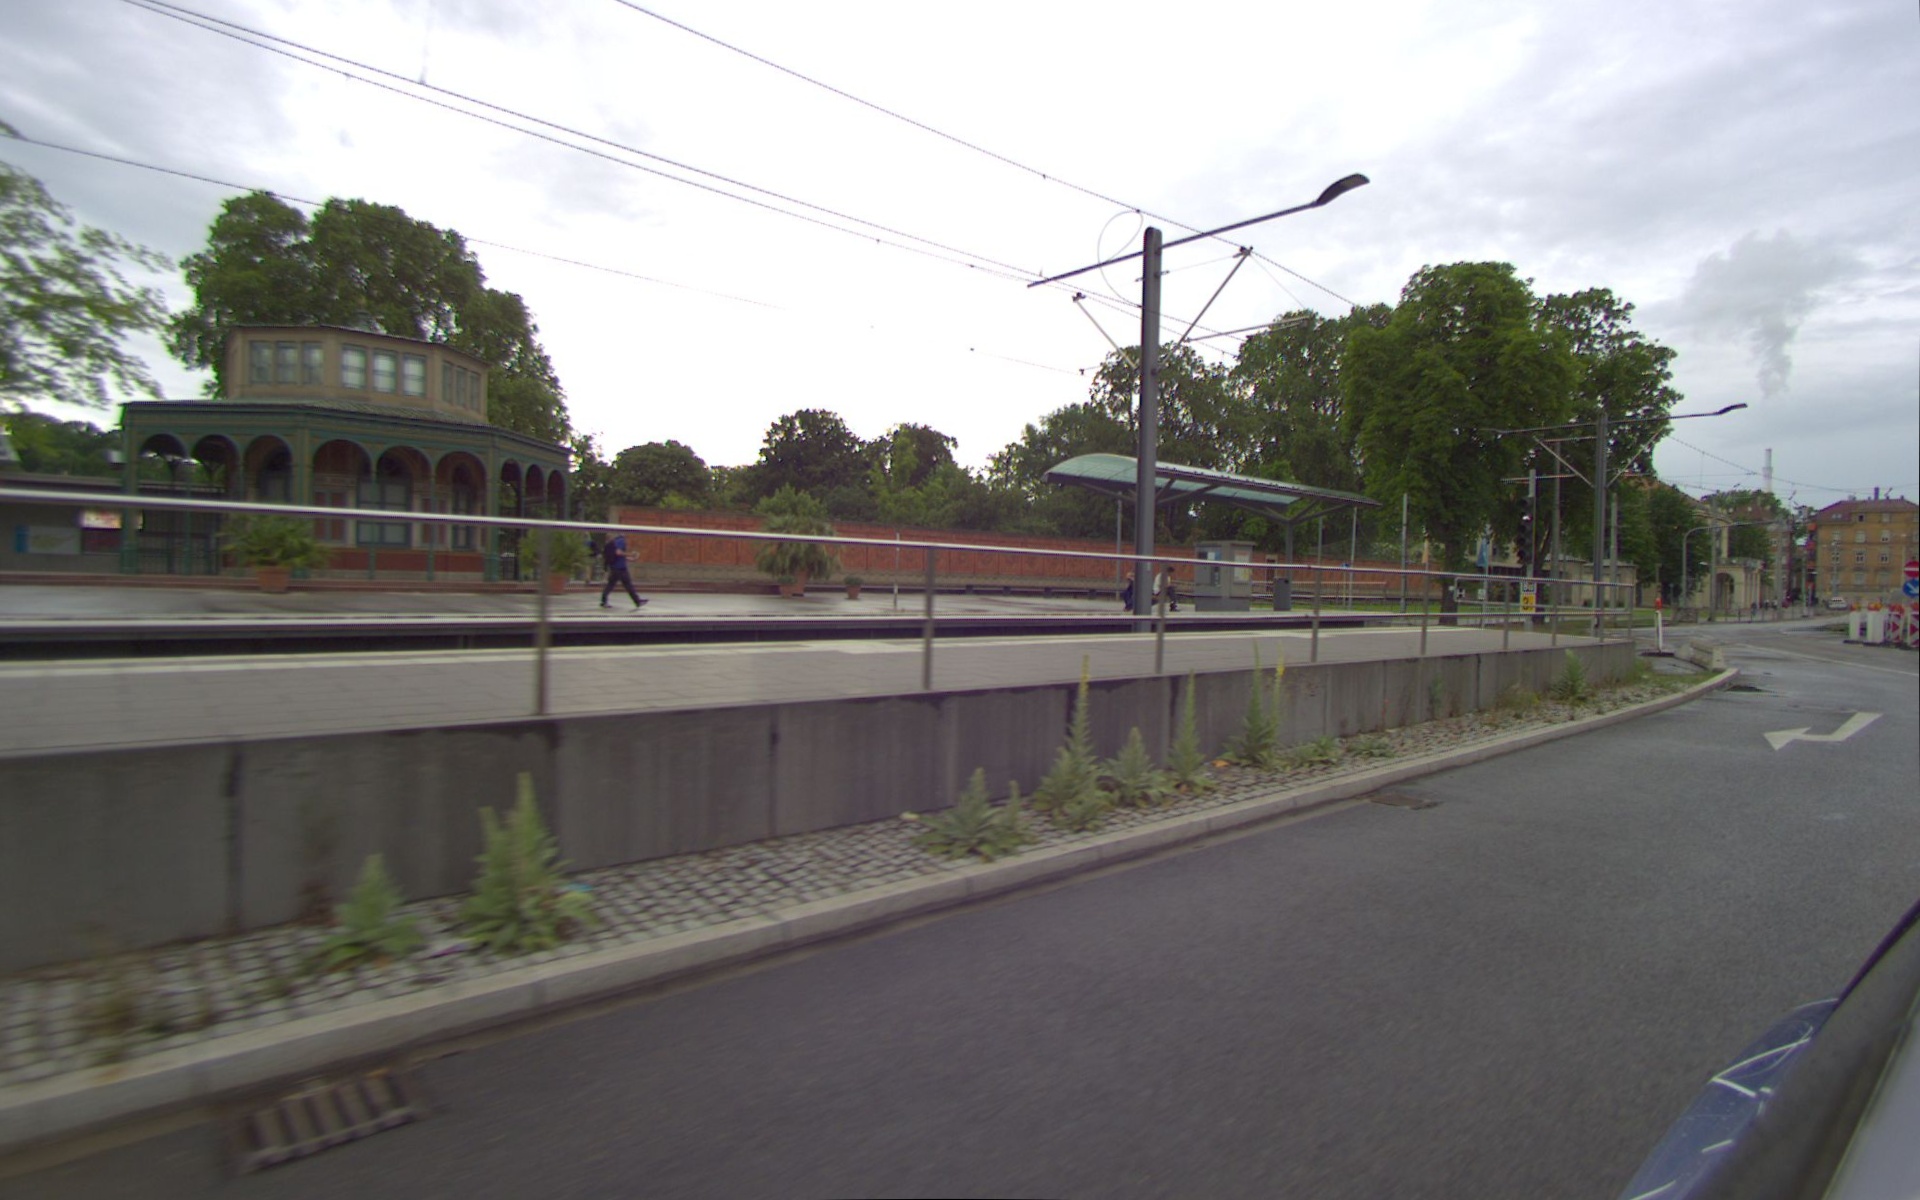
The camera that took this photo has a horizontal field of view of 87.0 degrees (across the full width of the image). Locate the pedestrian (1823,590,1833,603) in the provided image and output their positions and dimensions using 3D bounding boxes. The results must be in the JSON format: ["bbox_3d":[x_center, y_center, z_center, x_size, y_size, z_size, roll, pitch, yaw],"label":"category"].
[{"bbox_3d":[123.287,-0.489,143.759,0.768,1.830,0.697,-1,0,8],"label":"pedestrian"}]

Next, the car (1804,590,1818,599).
[{"bbox_3d":[162.819,-1.075,193.567,1.825,1.602,3.939,2,2,42],"label":"car"}]

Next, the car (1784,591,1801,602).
[{"bbox_3d":[128.290,-0.561,155.973,1.825,1.602,3.939,2,2,42],"label":"car"}]

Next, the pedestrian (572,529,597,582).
[{"bbox_3d":[-12.659,-1.502,34.131,0.681,1.732,0.533,-2,0,-30],"label":"pedestrian"}]

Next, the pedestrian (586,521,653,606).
[{"bbox_3d":[-7.466,-0.791,22.173,1.161,1.812,0.722,1,2,-41],"label":"pedestrian"}]

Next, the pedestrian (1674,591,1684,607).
[{"bbox_3d":[81.036,-0.103,114.057,0.964,1.732,0.730,0,1,-41],"label":"pedestrian"}]

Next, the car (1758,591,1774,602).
[{"bbox_3d":[126.144,-0.587,158.352,1.857,1.568,4.005,0,1,41],"label":"car"}]

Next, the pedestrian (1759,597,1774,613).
[{"bbox_3d":[84.070,0.484,105.489,0.654,1.610,0.868,1,2,-16],"label":"pedestrian"}]

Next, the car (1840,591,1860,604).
[{"bbox_3d":[120.630,-0.353,137.130,1.838,1.660,4.078,-3,-1,44],"label":"car"}]

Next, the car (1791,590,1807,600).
[{"bbox_3d":[135.716,-0.839,163.695,1.825,1.602,3.939,2,2,42],"label":"car"}]

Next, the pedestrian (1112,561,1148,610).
[{"bbox_3d":[4.391,-0.381,26.102,0.518,1.228,0.770,-4,-2,45],"label":"pedestrian"}]

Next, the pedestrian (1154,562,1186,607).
[{"bbox_3d":[5.422,-0.392,26.117,0.597,1.133,0.514,-4,-2,33],"label":"pedestrian"}]

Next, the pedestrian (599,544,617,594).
[{"bbox_3d":[-12.047,-1.051,34.612,0.460,1.677,0.552,0,1,-7],"label":"pedestrian"}]
